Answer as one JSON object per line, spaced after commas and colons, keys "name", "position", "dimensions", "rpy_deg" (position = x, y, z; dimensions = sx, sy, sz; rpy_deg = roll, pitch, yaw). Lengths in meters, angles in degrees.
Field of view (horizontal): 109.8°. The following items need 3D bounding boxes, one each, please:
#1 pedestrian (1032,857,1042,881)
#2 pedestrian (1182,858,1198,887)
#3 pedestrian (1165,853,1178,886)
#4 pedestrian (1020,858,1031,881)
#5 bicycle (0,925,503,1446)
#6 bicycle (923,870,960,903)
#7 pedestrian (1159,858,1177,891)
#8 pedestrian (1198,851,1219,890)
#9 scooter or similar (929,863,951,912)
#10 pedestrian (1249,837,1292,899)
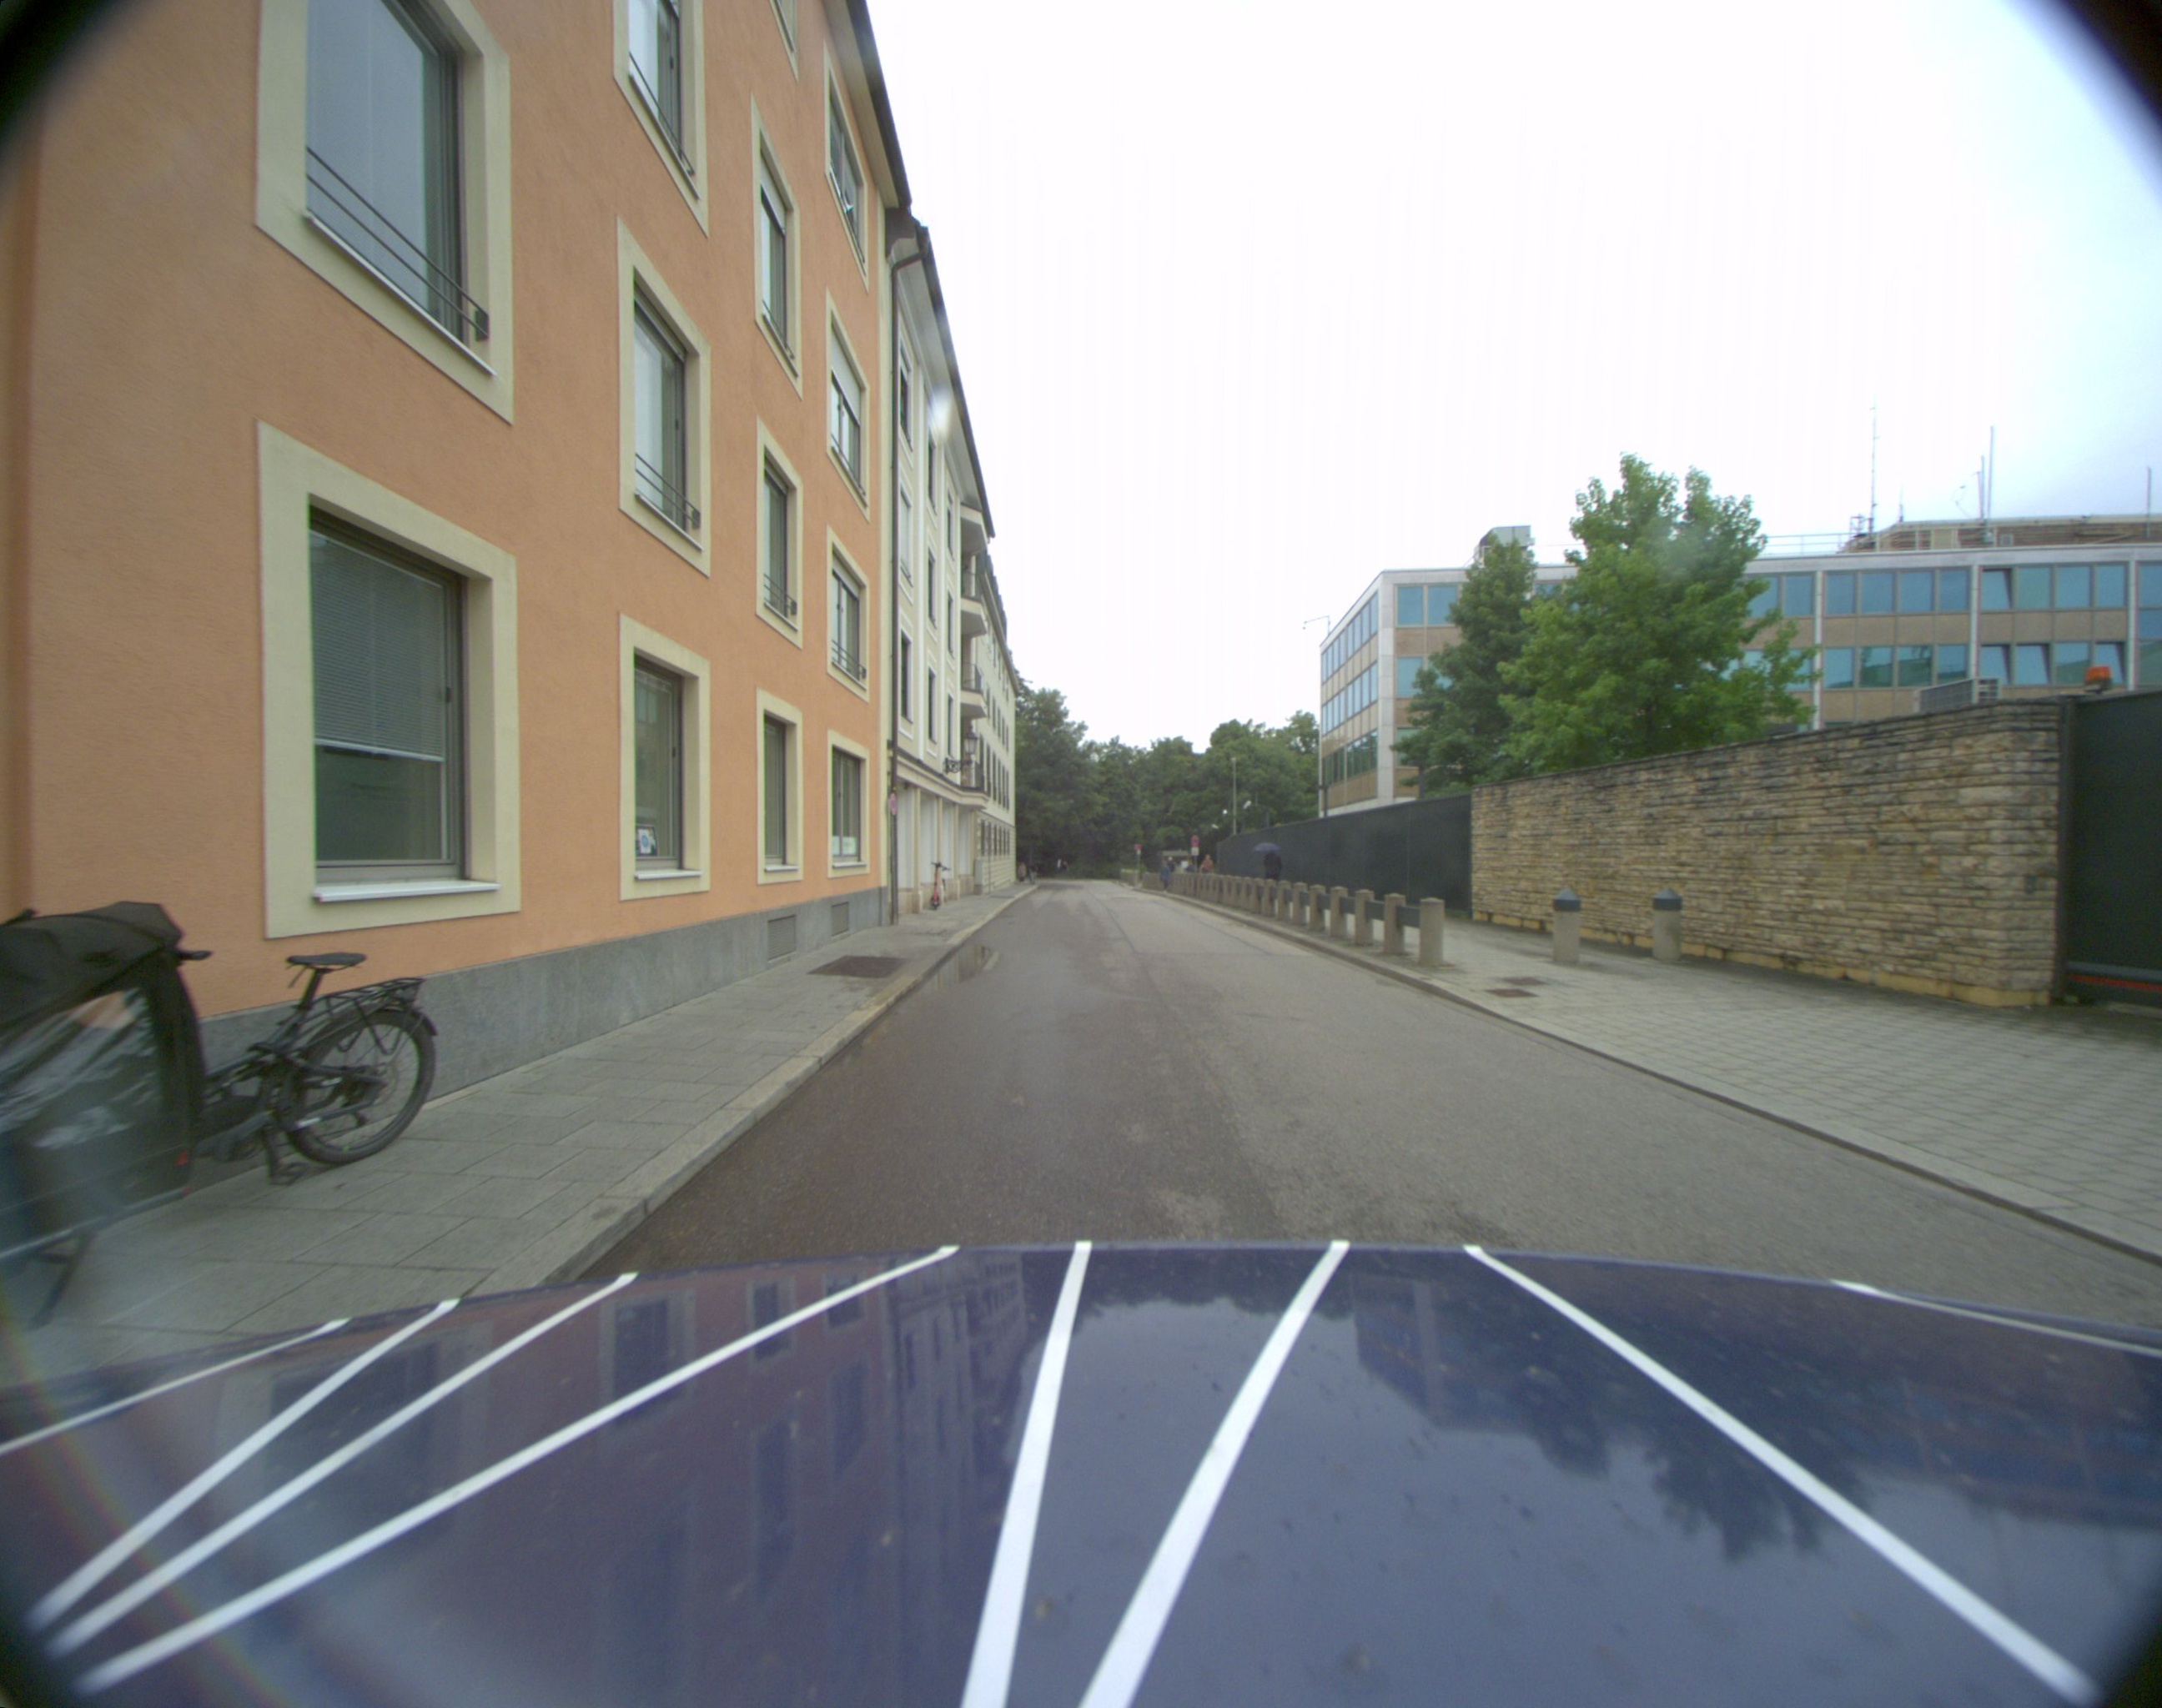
{"name": "pedestrian", "position": [-3.195, 1.106, 55.123], "dimensions": [0.753, 1.725, 0.853], "rpy_deg": [0, 0, -2]}
{"name": "pedestrian", "position": [5.832, 0.989, 40.869], "dimensions": [0.779, 1.531, 0.933], "rpy_deg": [-2, 0, 7]}
{"name": "pedestrian", "position": [4.985, 0.853, 41.886], "dimensions": [0.625, 1.758, 0.766], "rpy_deg": [0, 0, -1]}
{"name": "pedestrian", "position": [-3.999, 1.135, 54.696], "dimensions": [0.753, 1.671, 0.655], "rpy_deg": [0, 0, -2]}
{"name": "bicycle", "position": [-3.254, 0.986, 2.567], "dimensions": [0.681, 1.233, 2.382], "rpy_deg": [4, 0, 1]}
{"name": "bicycle", "position": [-4.405, 1.019, 24.148], "dimensions": [0.464, 0.988, 2.080], "rpy_deg": [1, -1, 9]}
{"name": "pedestrian", "position": [3.964, 0.932, 34.681], "dimensions": [0.640, 1.458, 1.079], "rpy_deg": [-2, 0, 0]}
{"name": "pedestrian", "position": [5.775, 0.740, 34.398], "dimensions": [0.826, 1.713, 0.906], "rpy_deg": [-2, 0, 4]}
{"name": "scooter or similar", "position": [-3.906, 0.911, 20.986], "dimensions": [0.466, 1.251, 1.275], "rpy_deg": [2, 1, -14]}
{"name": "pedestrian", "position": [6.491, 0.479, 26.052], "dimensions": [1.226, 2.091, 1.116], "rpy_deg": [0, 0, 1]}
